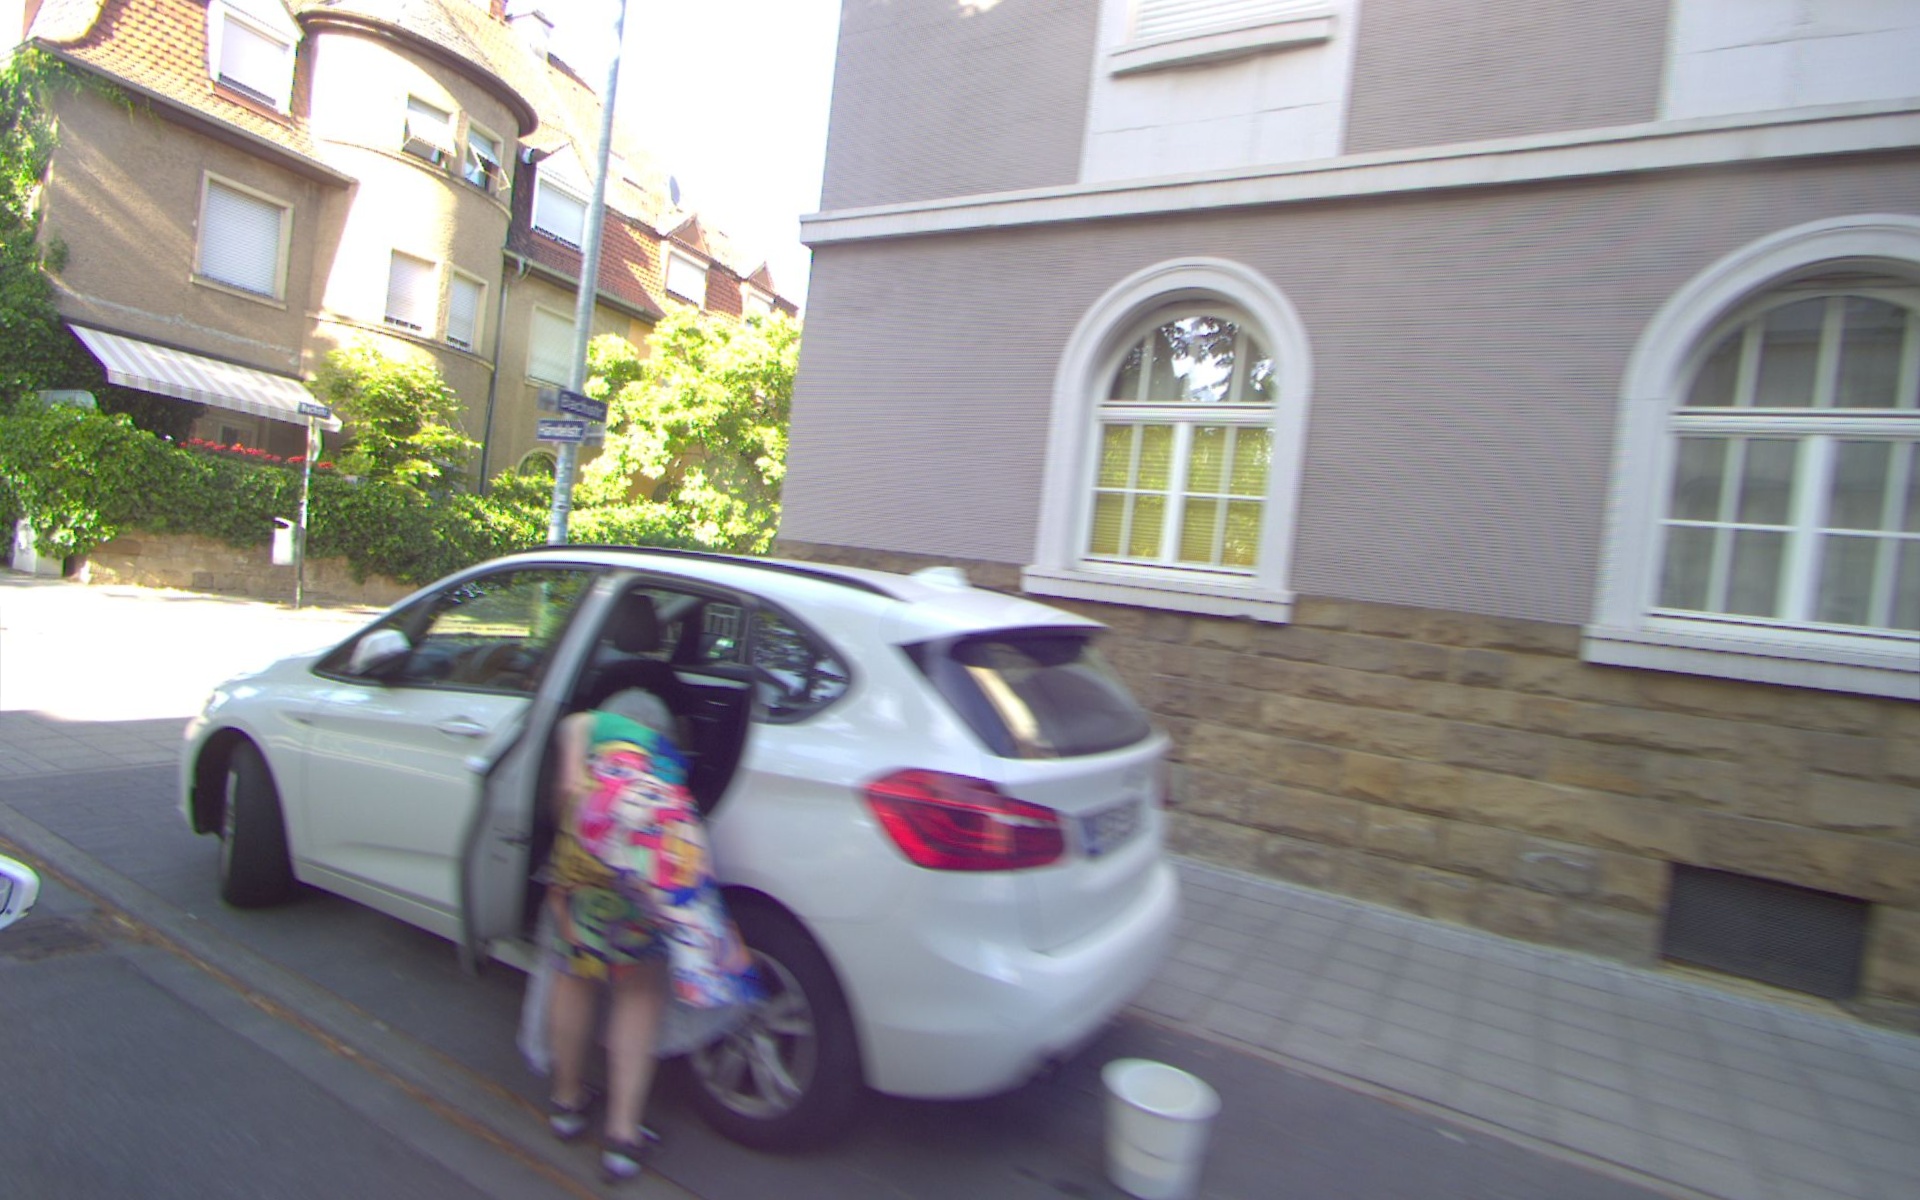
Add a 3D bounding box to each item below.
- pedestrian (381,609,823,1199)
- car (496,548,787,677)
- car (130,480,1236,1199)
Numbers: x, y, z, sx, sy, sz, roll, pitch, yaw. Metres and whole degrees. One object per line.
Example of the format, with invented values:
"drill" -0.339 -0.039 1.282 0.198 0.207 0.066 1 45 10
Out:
"pedestrian" -0.873 0.702 2.570 0.634 1.274 0.725 7 2 23
"car" -4.619 0.276 15.213 1.725 1.464 3.995 10 1 28
"car" -1.238 0.515 3.969 4.083 1.560 1.701 7 3 28
